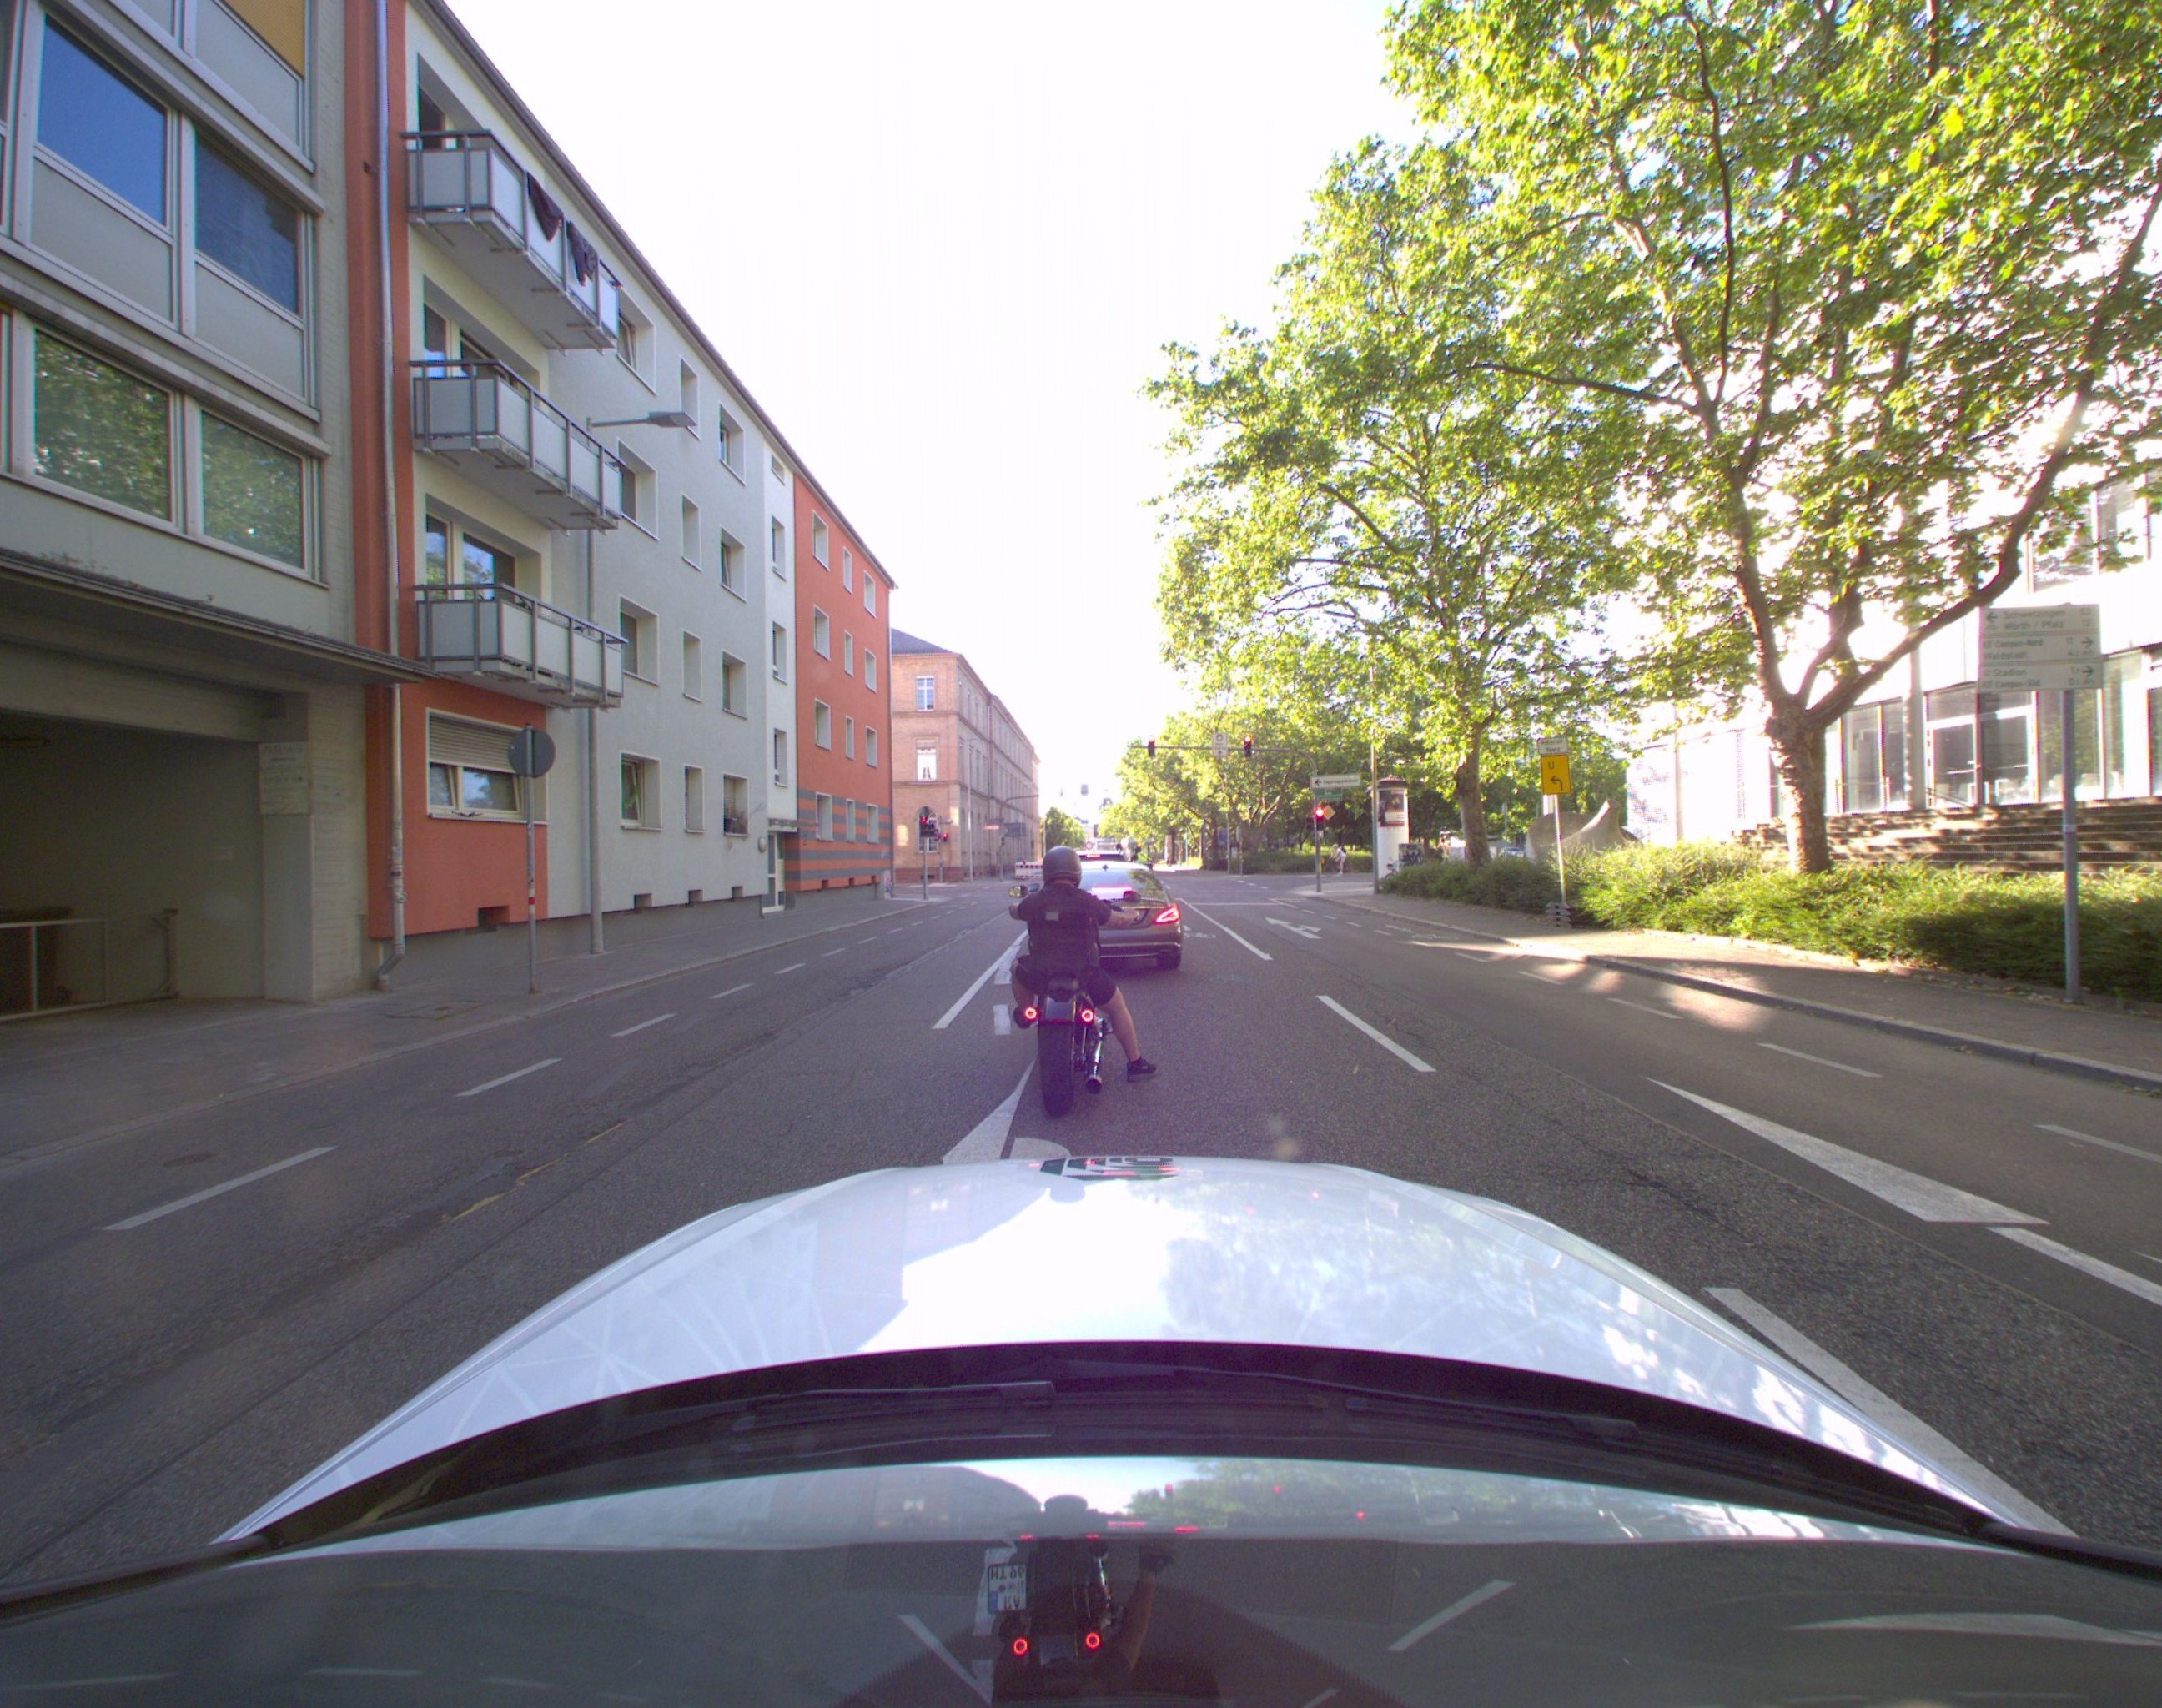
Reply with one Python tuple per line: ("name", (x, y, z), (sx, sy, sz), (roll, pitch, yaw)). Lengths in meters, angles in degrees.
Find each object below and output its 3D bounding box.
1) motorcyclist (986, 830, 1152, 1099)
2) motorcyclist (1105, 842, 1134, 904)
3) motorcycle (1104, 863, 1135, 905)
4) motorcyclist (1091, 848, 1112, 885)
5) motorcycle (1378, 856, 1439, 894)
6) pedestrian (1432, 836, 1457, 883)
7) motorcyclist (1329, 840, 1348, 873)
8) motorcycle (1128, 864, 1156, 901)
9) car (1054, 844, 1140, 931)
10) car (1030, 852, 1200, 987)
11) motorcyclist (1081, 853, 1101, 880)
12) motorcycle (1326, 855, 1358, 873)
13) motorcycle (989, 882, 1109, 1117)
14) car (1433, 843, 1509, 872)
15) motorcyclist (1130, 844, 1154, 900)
("motorcyclist", (-0.057, 0.669, 5.454), (0.986, 1.611, 1.121), (0, -1, 1))
("motorcyclist", (1.136, 0.549, 24.157), (0.828, 1.788, 0.913), (0, -1, 1))
("motorcycle", (1.111, 0.848, 23.770), (0.859, 1.168, 1.930), (0, -1, 2))
("motorcyclist", (0.975, 0.590, 38.612), (0.981, 1.722, 0.551), (0, -1, 2))
("motorcycle", (11.068, 0.714, 27.549), (1.771, 1.243, 0.724), (0, -1, 7))
("pedestrian", (14.375, 0.229, 32.197), (0.645, 1.827, 0.667), (-1, 0, 1))
("motorcyclist", (14.749, 0.136, 46.641), (0.978, 1.876, 0.377), (-1, -1, 6))
("motorcycle", (1.951, 0.885, 26.153), (0.794, 1.131, 2.237), (0, -1, 2))
("car", (0.370, 0.664, 17.720), (1.645, 1.652, 4.002), (0, -1, 2))
("car", (0.258, 0.743, 11.249), (1.821, 1.486, 4.325), (0, -1, -5))
("motorcyclist", (0.542, 0.691, 45.703), (0.948, 1.537, 0.637), (0, -1, -42))
("motorcycle", (14.946, 0.572, 46.649), (1.710, 1.002, 0.416), (-1, 0, 6))
("motorcycle", (-0.145, 0.843, 5.547), (0.657, 1.240, 2.058), (0, -1, 2))
("car", (24.627, 0.212, 51.528), (3.974, 1.772, 1.738), (-1, 0, -1))
("motorcyclist", (1.956, 0.573, 26.187), (0.714, 1.743, 0.751), (0, -1, 1))
